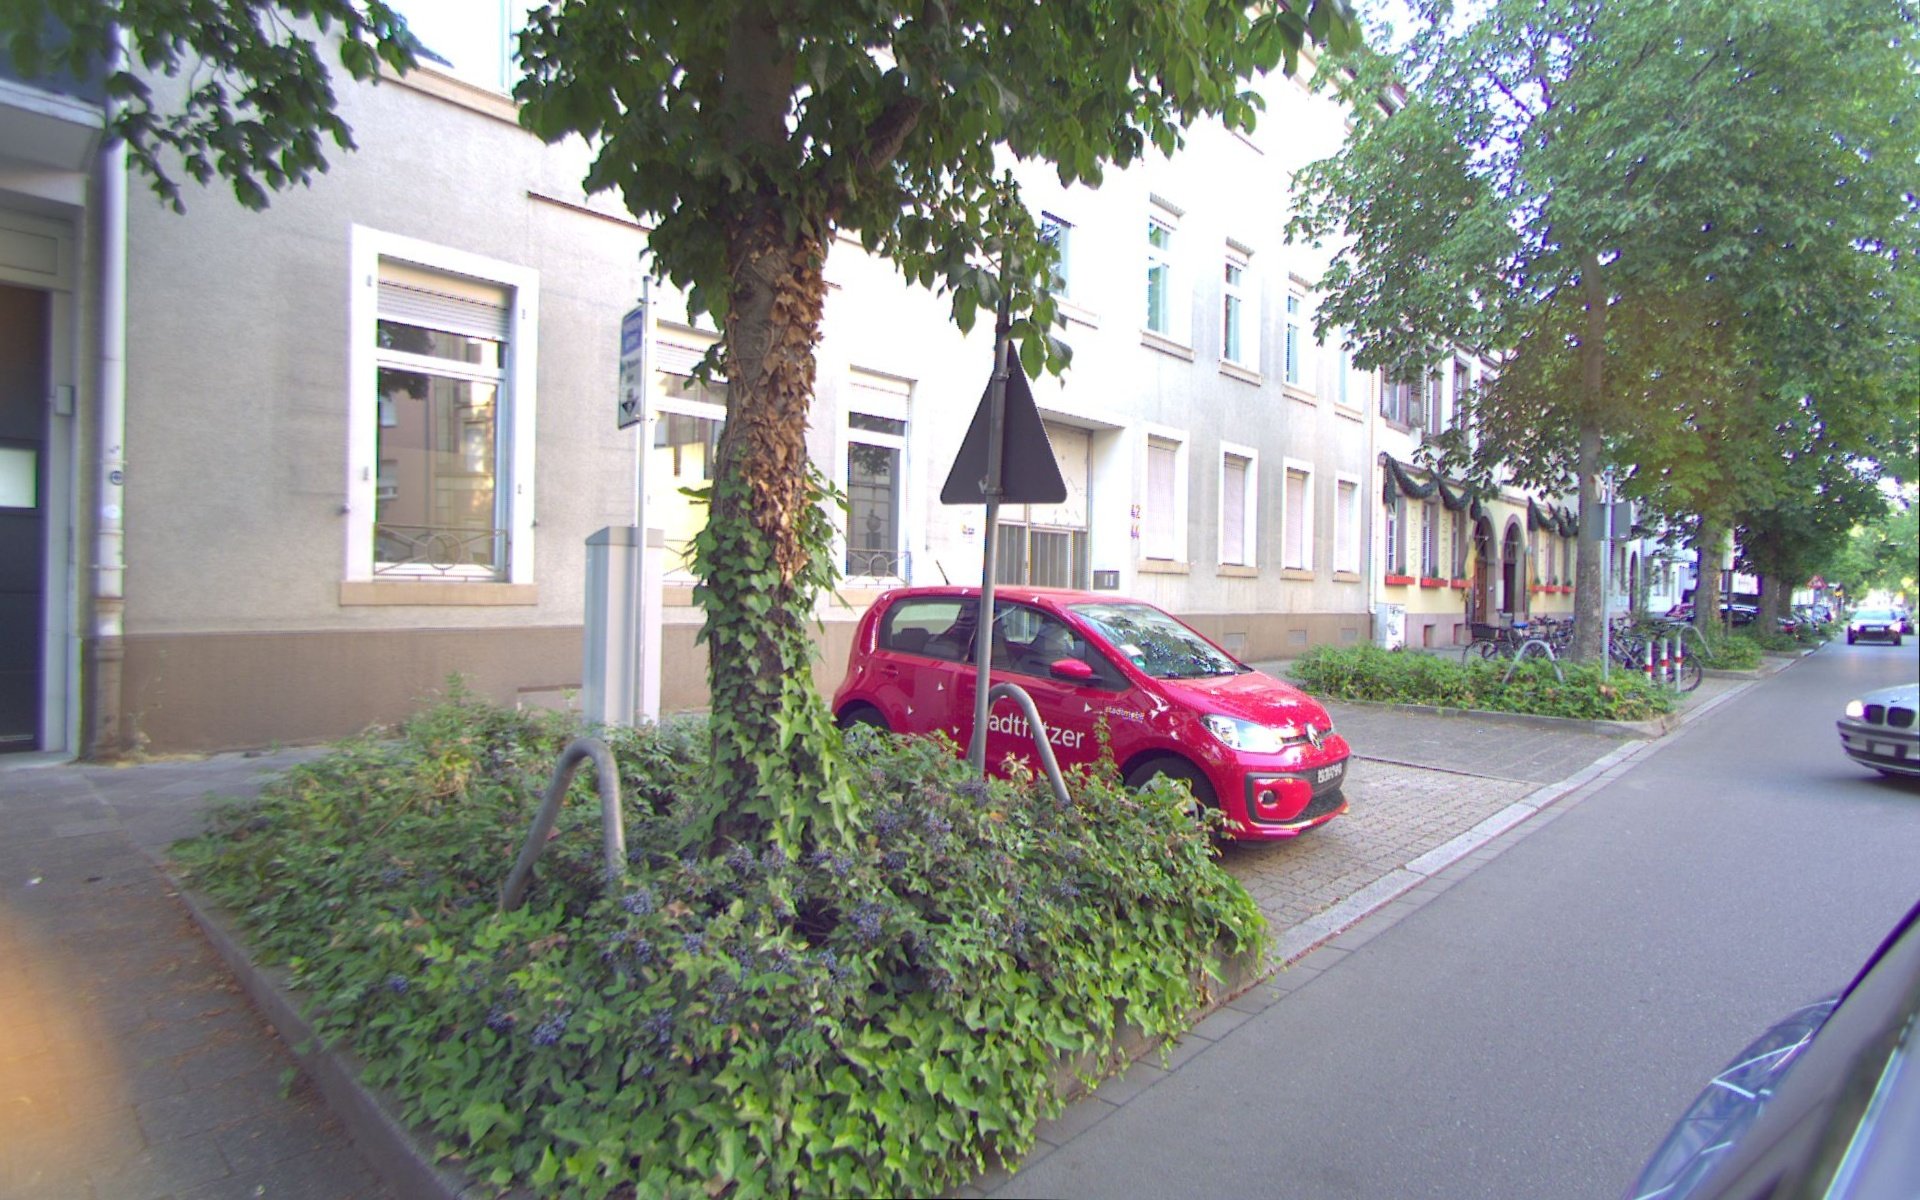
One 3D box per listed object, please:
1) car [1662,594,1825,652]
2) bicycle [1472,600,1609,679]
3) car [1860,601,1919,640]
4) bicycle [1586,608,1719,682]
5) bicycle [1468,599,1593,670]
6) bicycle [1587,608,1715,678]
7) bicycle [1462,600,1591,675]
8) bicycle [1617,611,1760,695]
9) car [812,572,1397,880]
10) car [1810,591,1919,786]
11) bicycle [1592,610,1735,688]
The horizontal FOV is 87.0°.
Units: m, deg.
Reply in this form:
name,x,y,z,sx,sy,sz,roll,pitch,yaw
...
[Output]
name,x,y,z,sx,sy,sz,roll,pitch,yaw
car,26.610,0.733,34.452,4.232,1.761,1.715,2,1,43
bicycle,10.080,0.657,17.622,2.014,1.242,0.529,2,1,33
car,40.470,0.838,43.995,1.802,1.571,3.935,2,1,45
bicycle,12.986,0.817,19.013,2.019,1.242,0.528,2,1,39
bicycle,10.927,0.636,19.426,2.017,1.242,0.529,2,1,37
bicycle,13.466,0.808,19.766,2.019,1.242,0.528,2,1,39
bicycle,10.295,0.648,18.432,2.014,1.242,0.529,2,1,33
bicycle,11.848,0.830,16.533,1.835,1.242,0.529,2,1,33
car,0.796,0.584,6.807,3.608,1.495,1.639,2,1,42
car,9.404,0.696,7.615,4.358,1.460,1.710,1,1,6
bicycle,12.350,0.831,17.819,2.019,1.242,0.528,2,1,39
